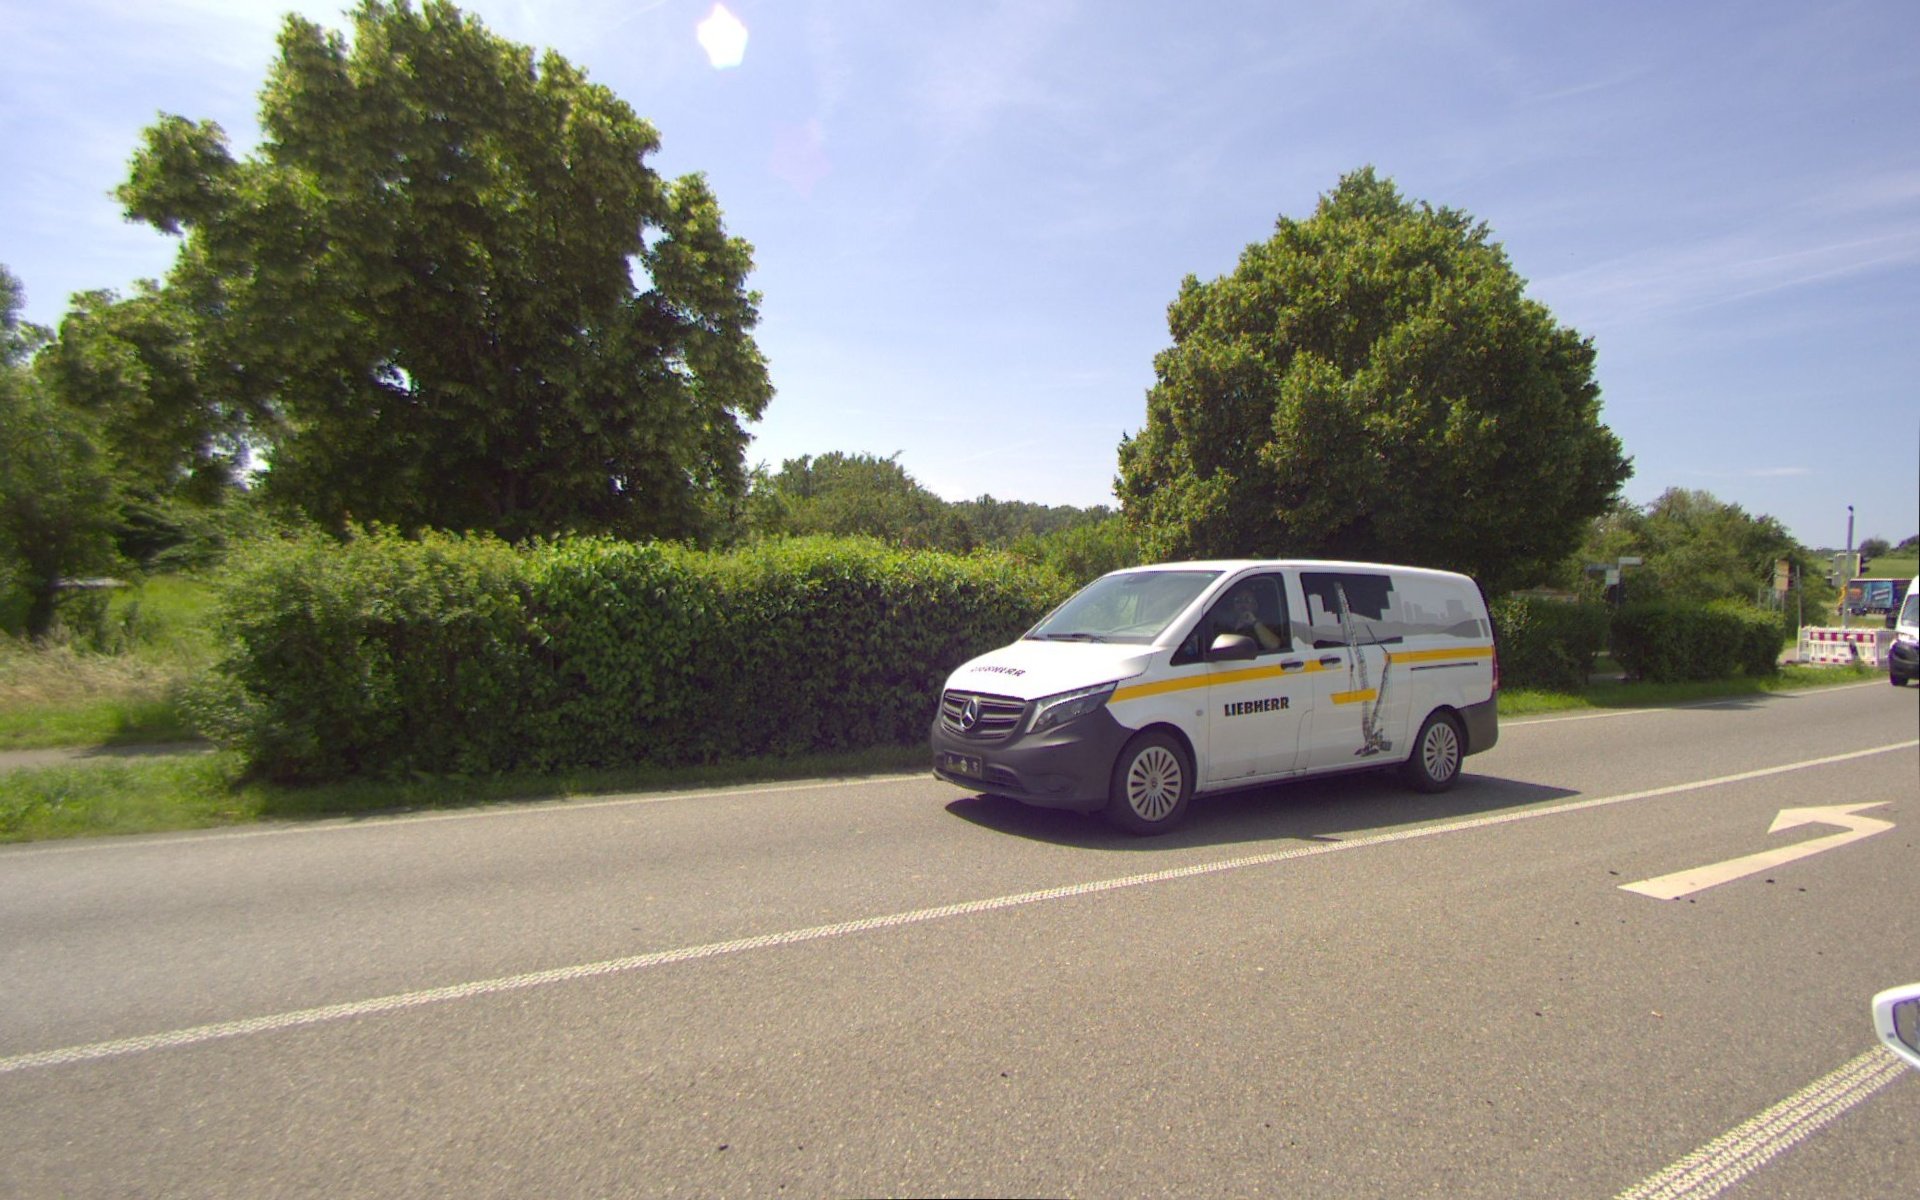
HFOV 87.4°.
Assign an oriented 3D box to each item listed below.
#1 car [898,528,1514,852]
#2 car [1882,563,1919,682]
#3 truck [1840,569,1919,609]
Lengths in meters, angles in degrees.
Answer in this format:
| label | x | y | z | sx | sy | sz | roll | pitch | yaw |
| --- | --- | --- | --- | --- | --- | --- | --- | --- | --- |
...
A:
| label | x | y | z | sx | sy | sz | roll | pitch | yaw |
| --- | --- | --- | --- | --- | --- | --- | --- | --- | --- |
| car | 2.162 | 0.586 | 8.058 | 5.086 | 1.889 | 1.862 | 1 | -2 | -33 |
| car | 22.489 | 0.477 | 22.355 | 5.220 | 2.484 | 2.036 | 0 | -1 | -38 |
| truck | 108.919 | -1.159 | 118.854 | 3.474 | 4.297 | 13.395 | 2 | 0 | 25 |
